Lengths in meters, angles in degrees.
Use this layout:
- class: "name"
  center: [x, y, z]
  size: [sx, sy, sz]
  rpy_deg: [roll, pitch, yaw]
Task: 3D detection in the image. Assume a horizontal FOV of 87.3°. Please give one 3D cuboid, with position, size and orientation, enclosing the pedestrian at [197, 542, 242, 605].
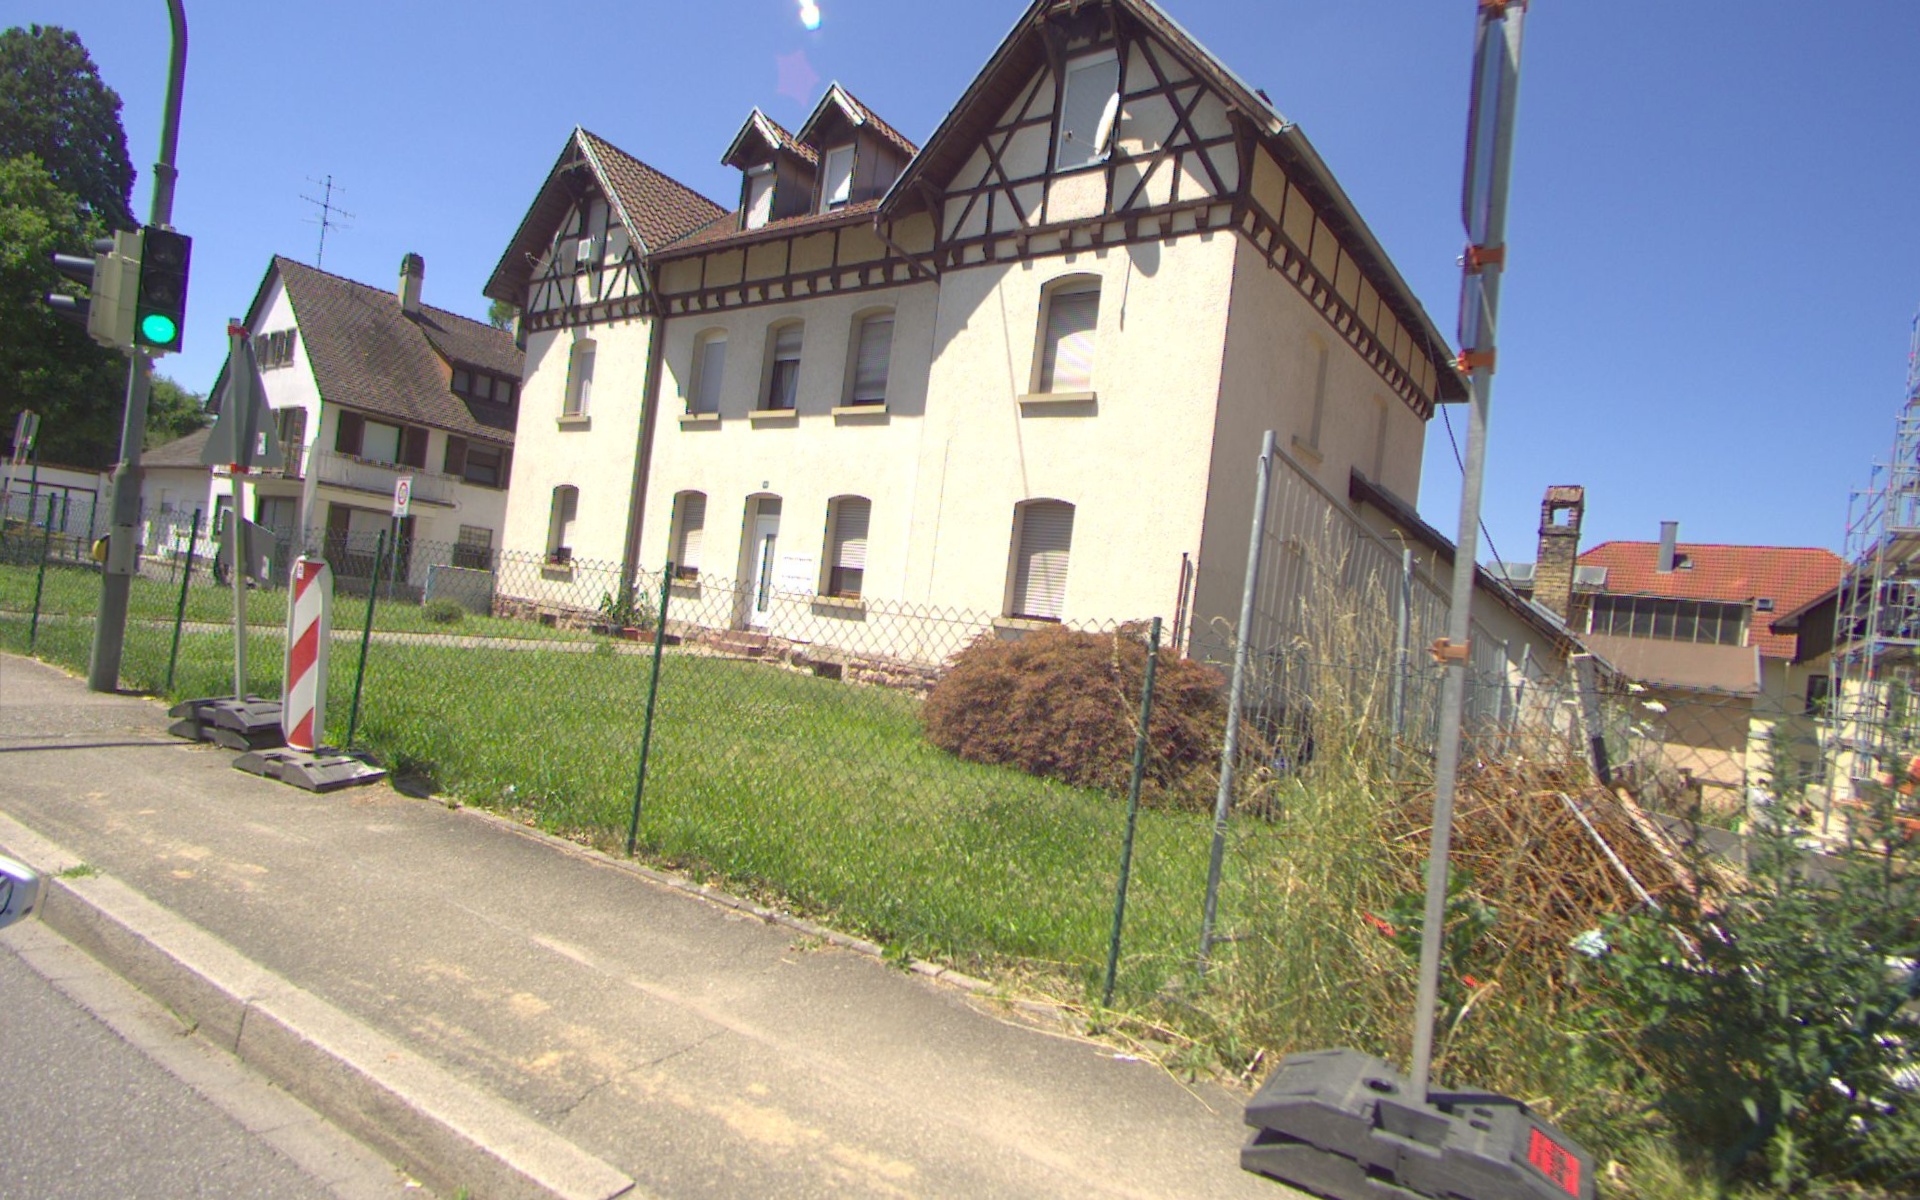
- class: "pedestrian"
  center: [-20.300, -0.716, 27.590]
  size: [0.563, 1.620, 0.696]
  rpy_deg: [7, 0, 29]
